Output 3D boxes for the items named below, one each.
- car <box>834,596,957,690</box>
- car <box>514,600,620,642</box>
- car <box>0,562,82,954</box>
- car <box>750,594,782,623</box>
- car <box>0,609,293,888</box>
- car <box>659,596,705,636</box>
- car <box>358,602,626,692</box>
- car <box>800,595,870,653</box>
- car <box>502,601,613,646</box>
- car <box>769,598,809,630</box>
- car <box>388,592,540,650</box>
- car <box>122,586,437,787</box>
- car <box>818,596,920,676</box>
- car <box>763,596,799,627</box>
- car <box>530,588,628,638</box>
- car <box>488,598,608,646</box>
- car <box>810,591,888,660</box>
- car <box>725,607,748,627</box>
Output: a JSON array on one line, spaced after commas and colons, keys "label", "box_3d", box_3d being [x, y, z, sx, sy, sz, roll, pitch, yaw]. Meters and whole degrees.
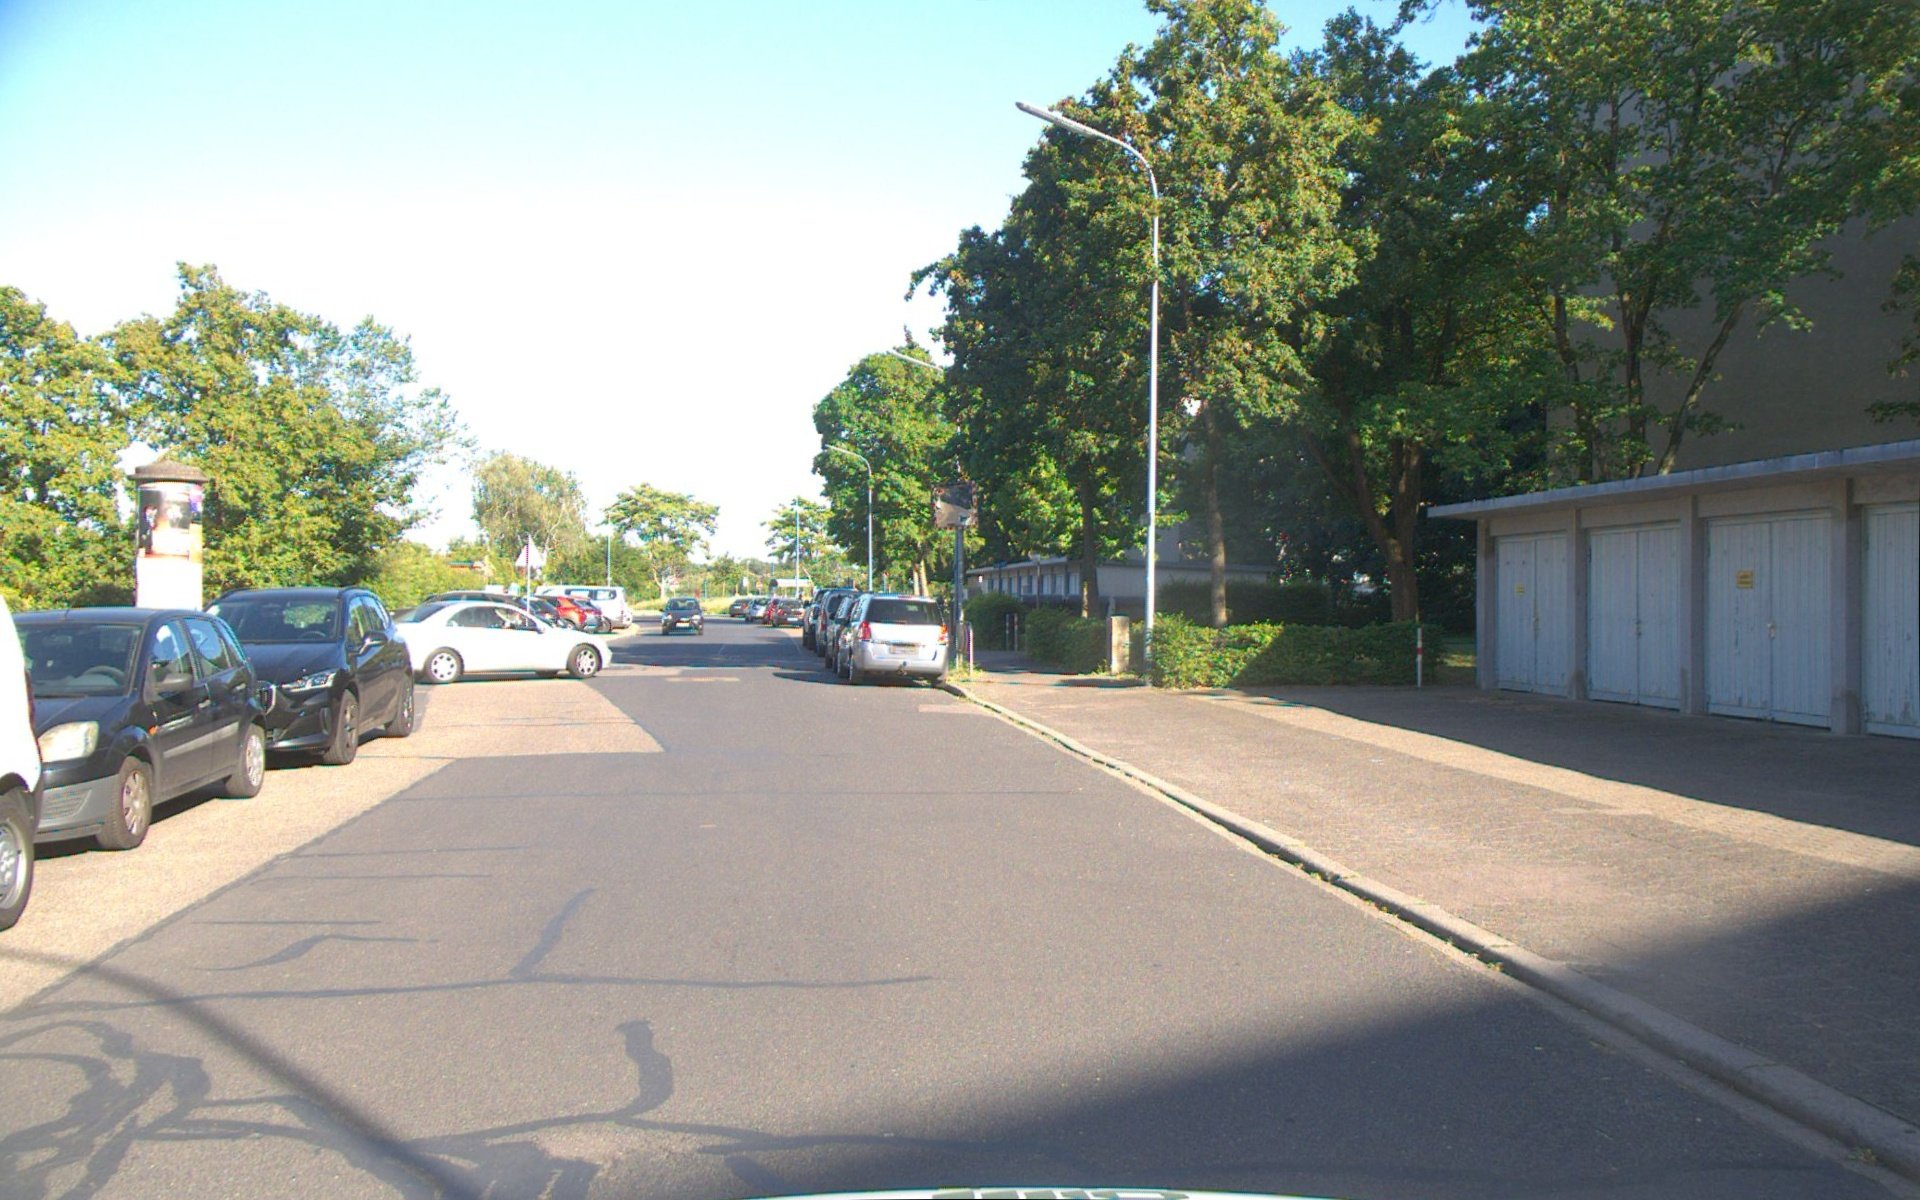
[{"label": "car", "box_3d": [-1.251, 0.741, 30.288, 1.763, 1.589, 3.943, 1, 0, -9]}, {"label": "car", "box_3d": [-15.485, 0.835, 65.360, 3.983, 1.589, 1.796, 1, 0, -12]}, {"label": "car", "box_3d": [-5.043, 0.727, 6.232, 1.713, 1.762, 3.999, -1, 0, -7]}, {"label": "car", "box_3d": [-11.980, 0.511, 101.869, 1.763, 1.672, 3.943, 1, 0, -9]}, {"label": "car", "box_3d": [-5.983, 0.845, 11.150, 1.713, 1.504, 4.146, -1, 0, -7]}, {"label": "car", "box_3d": [-11.388, 0.634, 67.815, 1.763, 1.589, 3.943, 1, 0, -9]}, {"label": "car", "box_3d": [-8.494, 0.808, 30.189, 4.353, 1.461, 1.819, -1, 0, -37]}, {"label": "car", "box_3d": [-3.842, 0.703, 50.276, 1.763, 1.672, 3.943, 1, 0, -9]}, {"label": "car", "box_3d": [-15.085, 0.873, 62.159, 3.983, 1.589, 1.796, 1, 0, -12]}, {"label": "car", "box_3d": [-8.781, 0.721, 84.804, 1.763, 1.576, 3.943, 1, 0, -9]}, {"label": "car", "box_3d": [-14.169, 0.603, 47.433, 3.983, 1.589, 1.796, 1, 0, -12]}, {"label": "car", "box_3d": [-6.377, 0.716, 16.028, 1.713, 1.641, 4.301, -1, 0, -7]}, {"label": "car", "box_3d": [-2.003, 0.728, 35.448, 1.763, 1.589, 3.943, 1, 0, -9]}, {"label": "car", "box_3d": [-10.021, 0.616, 92.206, 1.763, 1.672, 3.943, 1, 0, -9]}, {"label": "car", "box_3d": [-16.214, 0.565, 70.604, 3.983, 2.027, 1.796, 1, 0, -12]}, {"label": "car", "box_3d": [-14.428, 0.771, 58.152, 3.983, 1.589, 1.796, 1, 0, -12]}, {"label": "car", "box_3d": [-3.135, 0.675, 45.963, 1.763, 1.818, 3.943, 1, 0, -9]}, {"label": "car", "box_3d": [-17.476, 1.315, 129.192, 1.649, 1.540, 4.095, 2, 0, -9]}]
